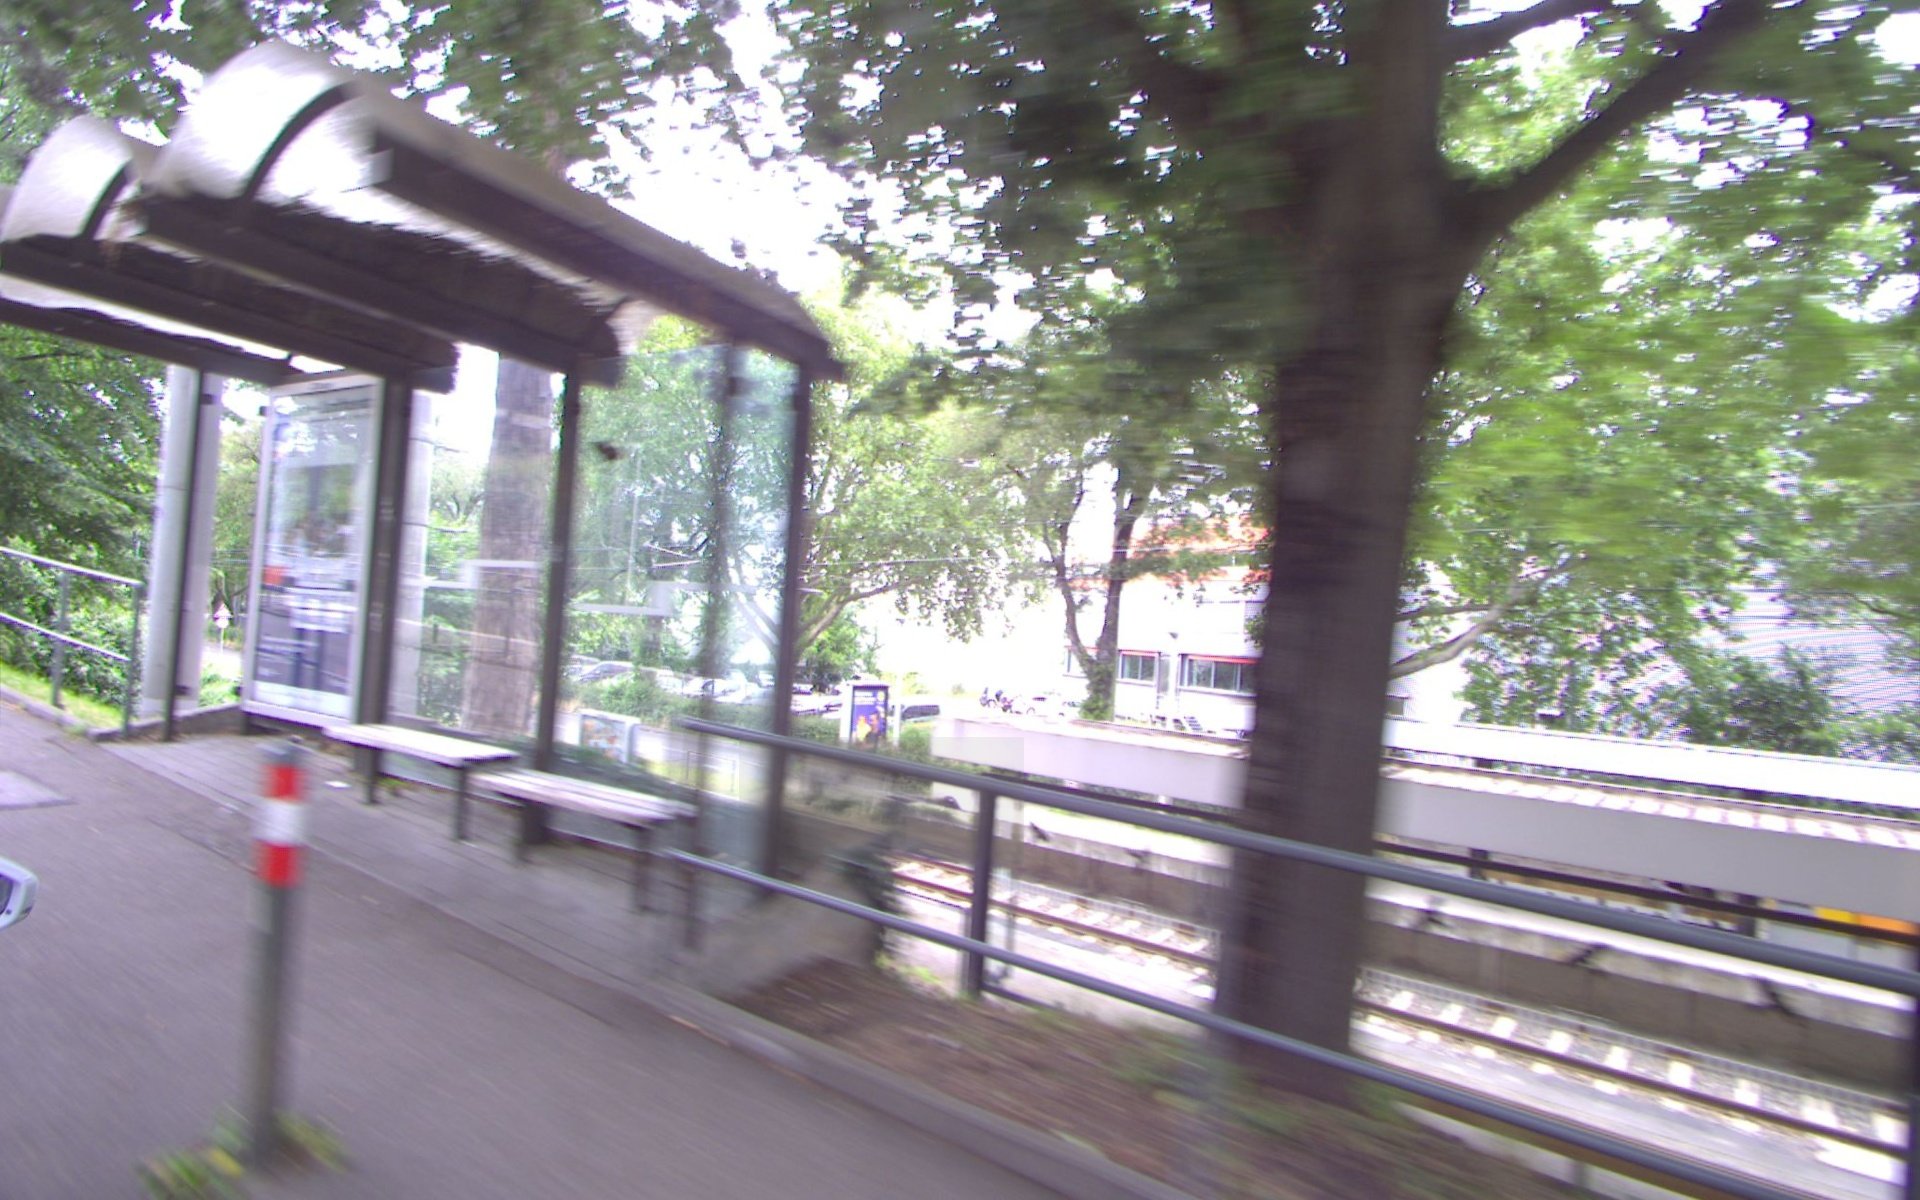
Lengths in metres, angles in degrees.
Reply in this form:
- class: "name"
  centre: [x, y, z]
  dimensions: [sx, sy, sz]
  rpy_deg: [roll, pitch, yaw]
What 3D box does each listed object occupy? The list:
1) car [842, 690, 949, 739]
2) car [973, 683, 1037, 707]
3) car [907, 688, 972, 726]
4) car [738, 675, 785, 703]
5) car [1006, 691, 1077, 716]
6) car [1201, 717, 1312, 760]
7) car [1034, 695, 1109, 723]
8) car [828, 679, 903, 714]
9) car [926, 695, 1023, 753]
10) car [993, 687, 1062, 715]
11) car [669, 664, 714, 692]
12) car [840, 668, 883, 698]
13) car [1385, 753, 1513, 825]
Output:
- class: "car"
  centre: [-2.796, 5.067, 44.407]
  dimensions: [1.972, 1.813, 4.563]
  rpy_deg: [5, -2, 40]
- class: "car"
  centre: [3.341, 7.073, 74.968]
  dimensions: [4.282, 1.487, 1.990]
  rpy_deg: [3, 0, -24]
- class: "car"
  centre: [-1.221, 6.029, 56.964]
  dimensions: [1.975, 1.486, 4.319]
  rpy_deg: [7, -2, -25]
- class: "car"
  centre: [-14.481, 6.445, 73.200]
  dimensions: [1.978, 1.486, 4.311]
  rpy_deg: [7, -2, -30]
- class: "car"
  centre: [5.481, 6.962, 67.791]
  dimensions: [4.279, 1.487, 1.991]
  rpy_deg: [2, 0, -22]
- class: "car"
  centre: [13.583, 6.339, 46.105]
  dimensions: [4.467, 1.392, 1.993]
  rpy_deg: [7, -1, -19]
- class: "car"
  centre: [7.033, 6.867, 63.688]
  dimensions: [4.276, 1.488, 1.992]
  rpy_deg: [1, 1, -21]
- class: "car"
  centre: [-6.132, 6.251, 65.016]
  dimensions: [4.289, 1.737, 1.989]
  rpy_deg: [7, -1, -25]
- class: "car"
  centre: [0.641, 5.020, 41.124]
  dimensions: [1.968, 2.037, 3.991]
  rpy_deg: [5, -2, 33]
- class: "car"
  centre: [4.743, 7.069, 70.213]
  dimensions: [4.290, 1.486, 1.988]
  rpy_deg: [7, -2, -27]
- class: "car"
  centre: [-19.189, 5.529, 71.727]
  dimensions: [1.978, 1.486, 4.311]
  rpy_deg: [7, -2, -30]
- class: "car"
  centre: [-7.559, 6.326, 77.130]
  dimensions: [1.974, 1.832, 3.979]
  rpy_deg: [7, -2, -23]
- class: "car"
  centre: [14.829, 5.649, 30.443]
  dimensions: [3.971, 1.722, 1.978]
  rpy_deg: [8, -2, -41]
